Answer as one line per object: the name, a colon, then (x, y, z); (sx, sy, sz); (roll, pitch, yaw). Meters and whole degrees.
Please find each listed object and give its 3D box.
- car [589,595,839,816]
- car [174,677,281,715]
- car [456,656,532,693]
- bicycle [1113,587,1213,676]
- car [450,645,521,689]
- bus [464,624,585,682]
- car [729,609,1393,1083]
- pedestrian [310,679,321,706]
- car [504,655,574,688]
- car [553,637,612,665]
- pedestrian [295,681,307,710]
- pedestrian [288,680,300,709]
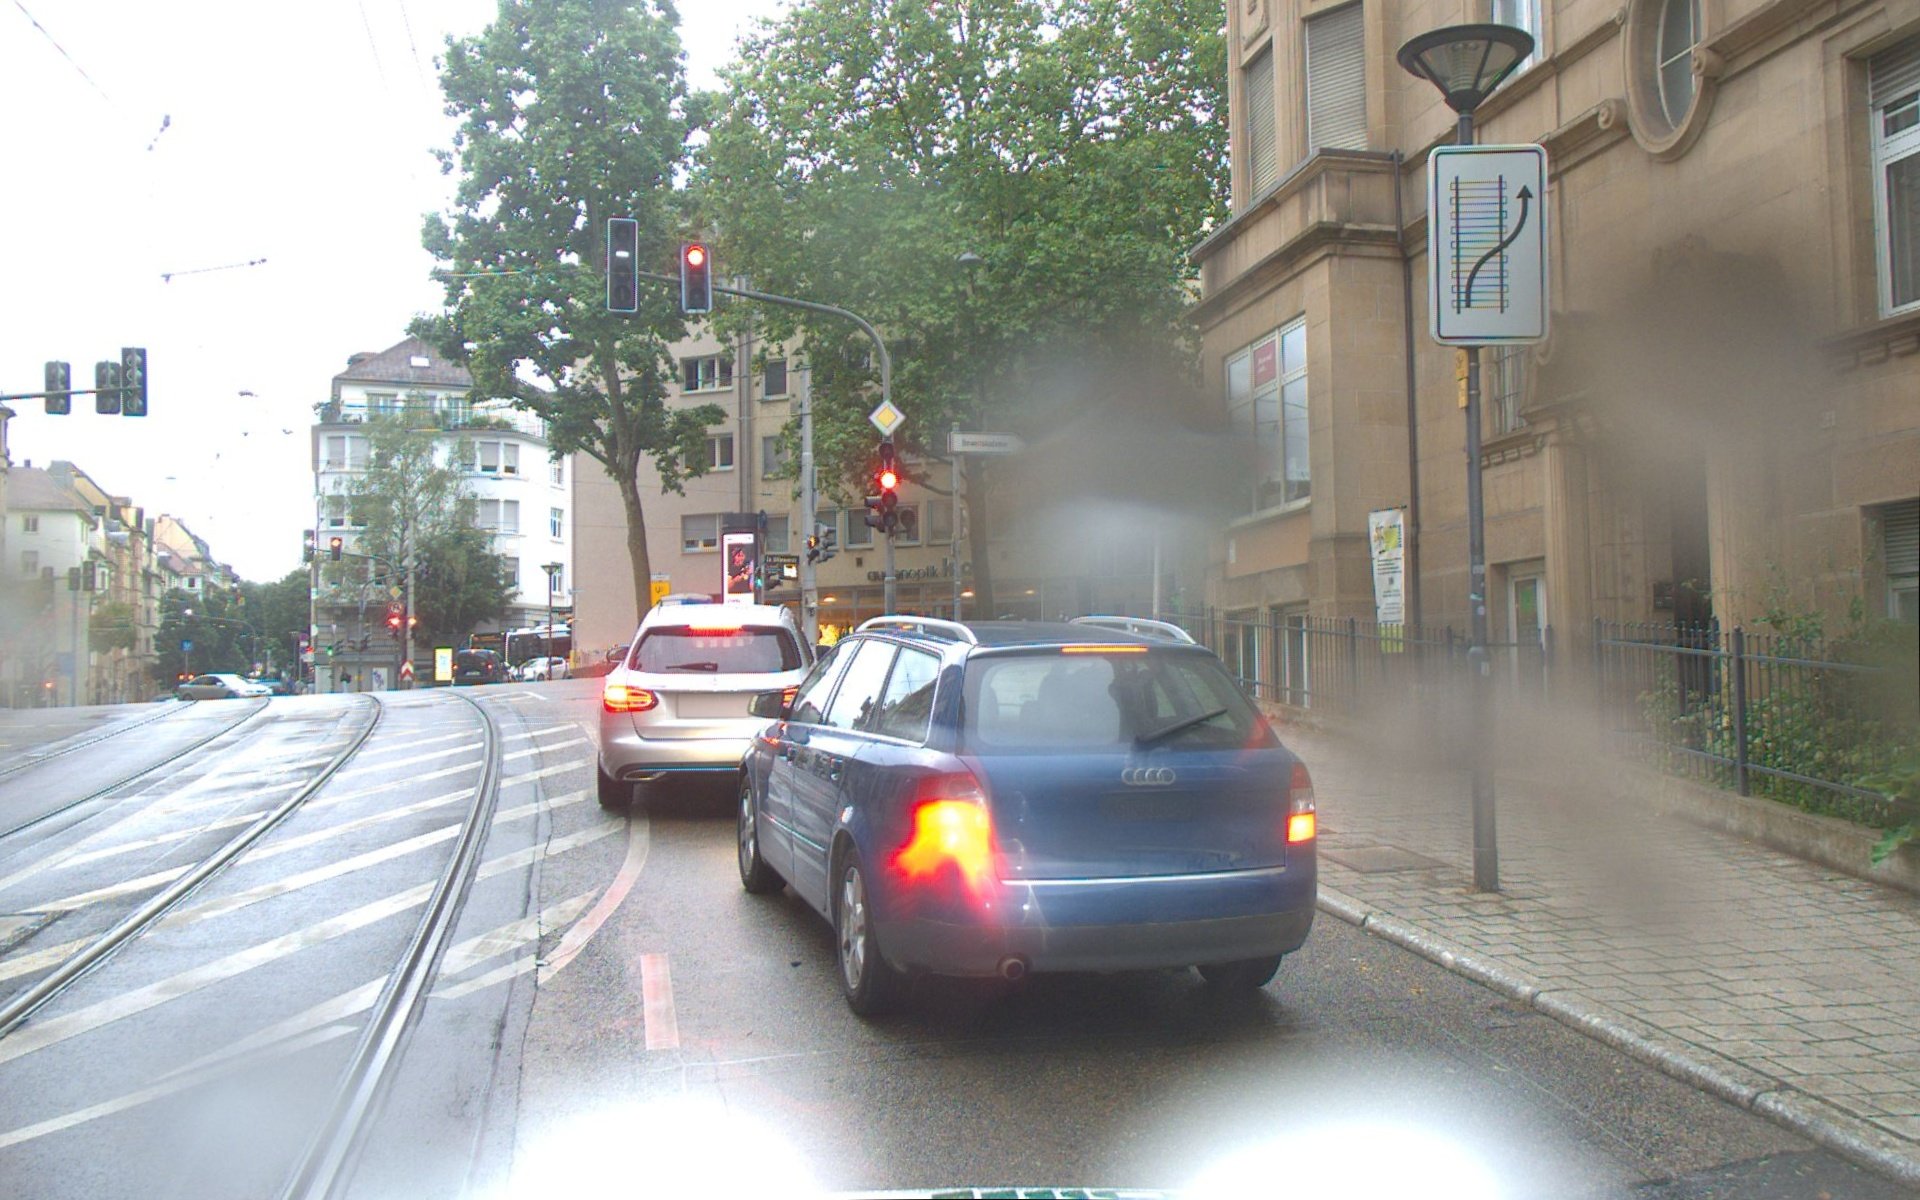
car: (-1.902, 0.707, 13.012); (1.678, 1.481, 3.546); (0, 0, -8)
car: (-31.877, 4.164, 71.955); (4.560, 1.537, 1.798); (-1, 0, 27)
car: (-23.416, 3.729, 83.228); (1.756, 1.642, 4.003); (-1, 0, 17)
bicycle: (2.926, 0.445, 23.881); (1.278, 1.194, 0.524); (-3, 0, -13)
car: (-19.379, 2.712, 67.677); (1.758, 1.536, 3.999); (-3, 0, -2)
bus: (-24.637, 2.957, 94.089); (2.793, 2.911, 8.741); (-1, 0, 13)
car: (0.116, 0.784, 7.363); (1.683, 1.440, 4.017); (0, 0, -17)
pedestrian: (-41.723, 5.982, 107.004); (0.639, 1.690, 0.646); (0, -1, -21)
car: (-22.371, 3.787, 88.031); (1.756, 1.536, 4.003); (-1, 0, 17)
car: (-23.054, 3.107, 101.104); (1.756, 1.536, 4.003); (-1, 0, 17)
pedestrian: (-38.783, 5.603, 97.283); (0.639, 1.690, 0.646); (0, -1, -21)
pedestrian: (-40.237, 5.717, 99.912); (0.639, 1.690, 0.646); (0, -1, -21)
